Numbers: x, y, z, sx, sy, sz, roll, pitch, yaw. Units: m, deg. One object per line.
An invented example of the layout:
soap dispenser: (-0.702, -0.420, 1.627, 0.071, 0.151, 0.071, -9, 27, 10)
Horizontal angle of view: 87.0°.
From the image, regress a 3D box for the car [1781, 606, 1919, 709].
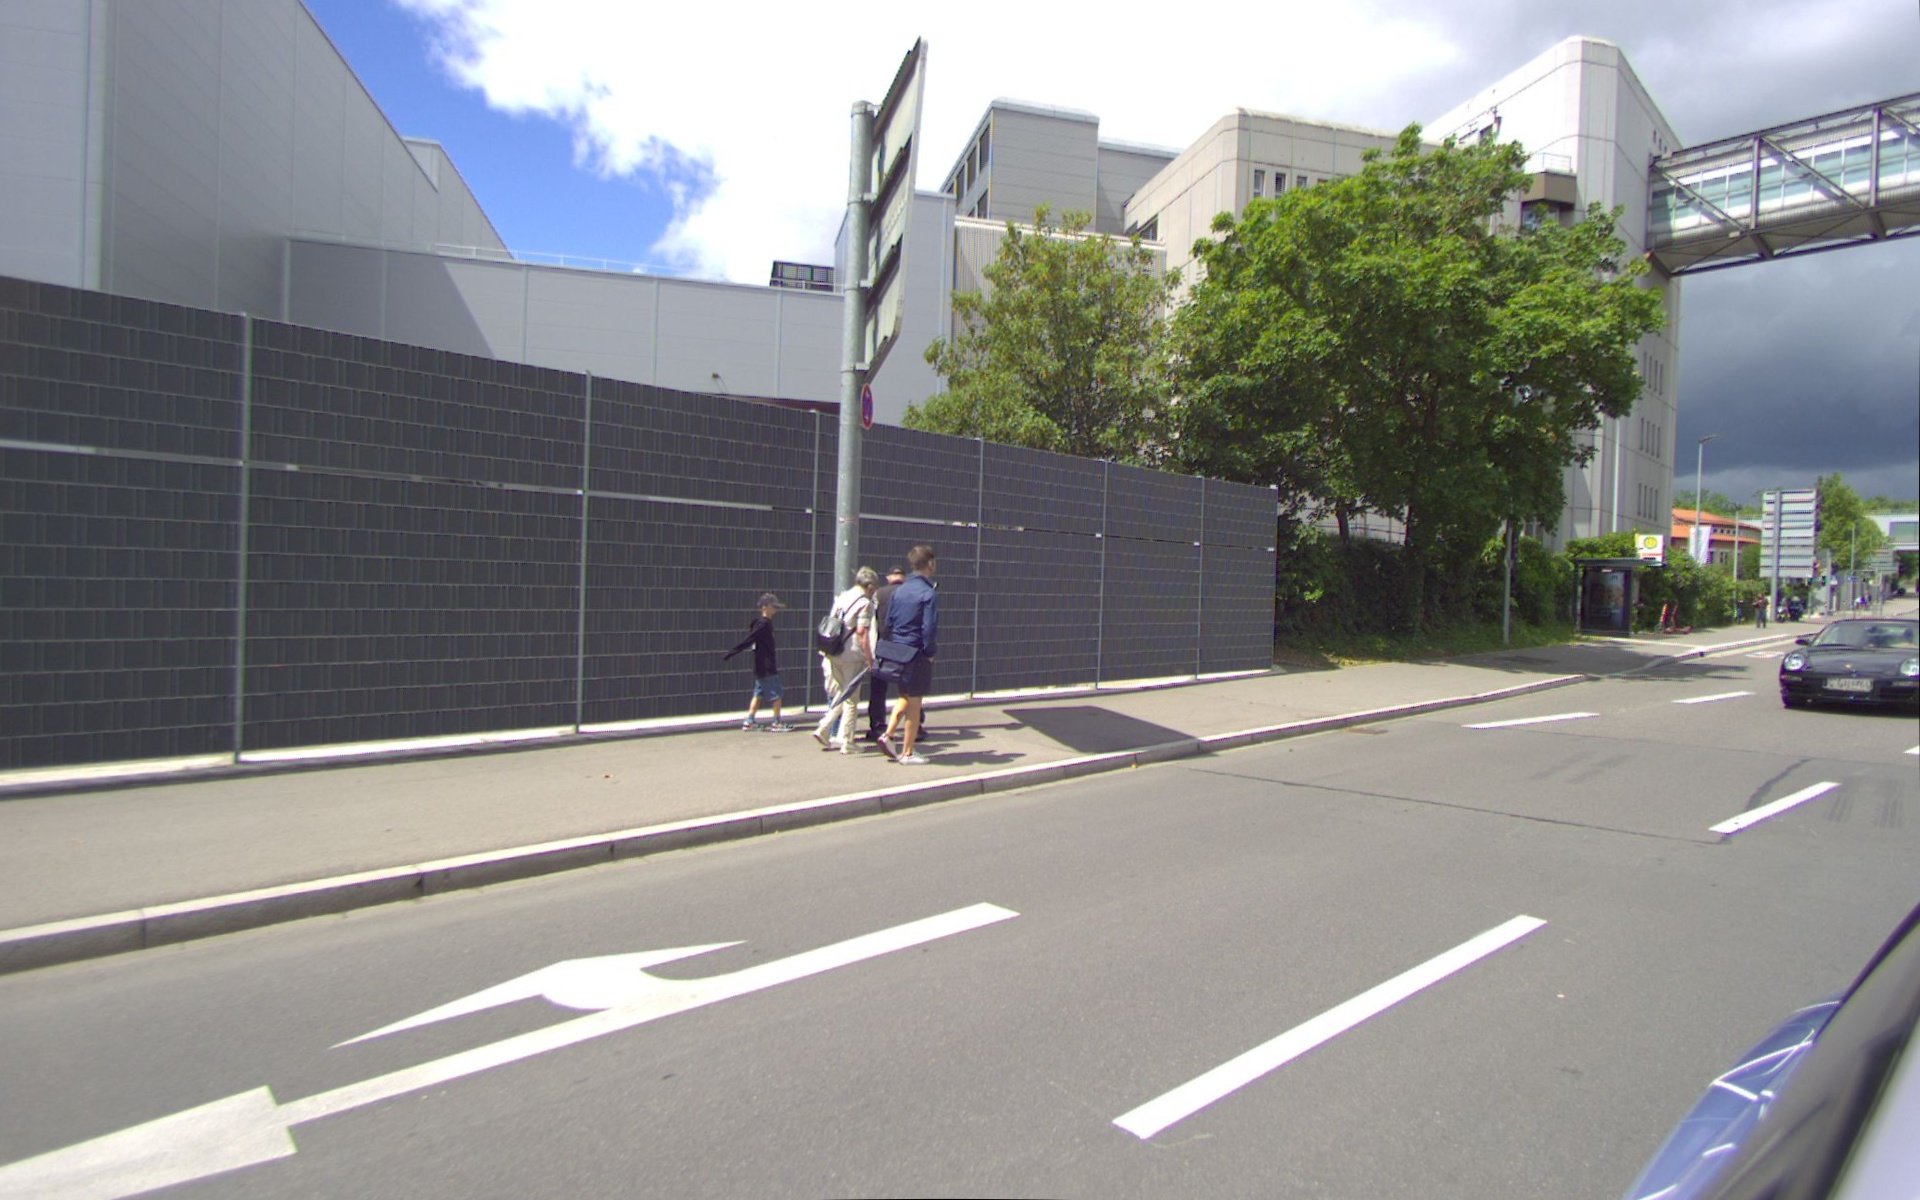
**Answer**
car: (13.684, 0.784, 14.829, 3.928, 1.342, 1.838, 1, -1, -39)

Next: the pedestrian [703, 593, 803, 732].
pedestrian: (-1.913, 0.546, 9.352, 0.704, 1.222, 0.598, 0, 0, -40)

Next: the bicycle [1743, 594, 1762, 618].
bicycle: (39.689, 0.292, 50.663, 2.428, 1.195, 0.443, 0, 0, -44)

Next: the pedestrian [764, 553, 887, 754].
pedestrian: (-1.153, 0.423, 8.655, 0.795, 1.617, 0.720, 0, 0, 45)

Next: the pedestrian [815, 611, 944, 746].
pedestrian: (-0.753, 0.694, 9.465, 0.954, 1.163, 0.759, 0, 0, -40)

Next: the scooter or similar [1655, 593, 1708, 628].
scooter or similar: (25.689, 0.365, 36.030, 1.754, 1.177, 0.544, 1, 1, -16)

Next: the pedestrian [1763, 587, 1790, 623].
pedestrian: (38.461, 0.219, 47.665, 0.810, 1.665, 0.981, 4, 3, 45)

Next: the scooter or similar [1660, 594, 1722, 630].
scooter or similar: (25.336, 0.402, 35.079, 2.082, 1.177, 0.544, 1, 1, -16)

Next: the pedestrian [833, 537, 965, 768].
pedestrian: (-0.494, 0.391, 8.173, 0.794, 1.742, 0.720, 0, 0, 43)

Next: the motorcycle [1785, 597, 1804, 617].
motorcycle: (47.336, 0.381, 57.385, 2.003, 1.080, 0.591, 0, 2, -44)

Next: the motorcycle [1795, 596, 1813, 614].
motorcycle: (51.606, 0.294, 61.855, 2.003, 1.080, 0.591, 0, 3, -44)

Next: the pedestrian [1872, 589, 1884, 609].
pedestrian: (82.388, -0.094, 90.847, 0.999, 1.788, 0.728, 0, 0, -44)
